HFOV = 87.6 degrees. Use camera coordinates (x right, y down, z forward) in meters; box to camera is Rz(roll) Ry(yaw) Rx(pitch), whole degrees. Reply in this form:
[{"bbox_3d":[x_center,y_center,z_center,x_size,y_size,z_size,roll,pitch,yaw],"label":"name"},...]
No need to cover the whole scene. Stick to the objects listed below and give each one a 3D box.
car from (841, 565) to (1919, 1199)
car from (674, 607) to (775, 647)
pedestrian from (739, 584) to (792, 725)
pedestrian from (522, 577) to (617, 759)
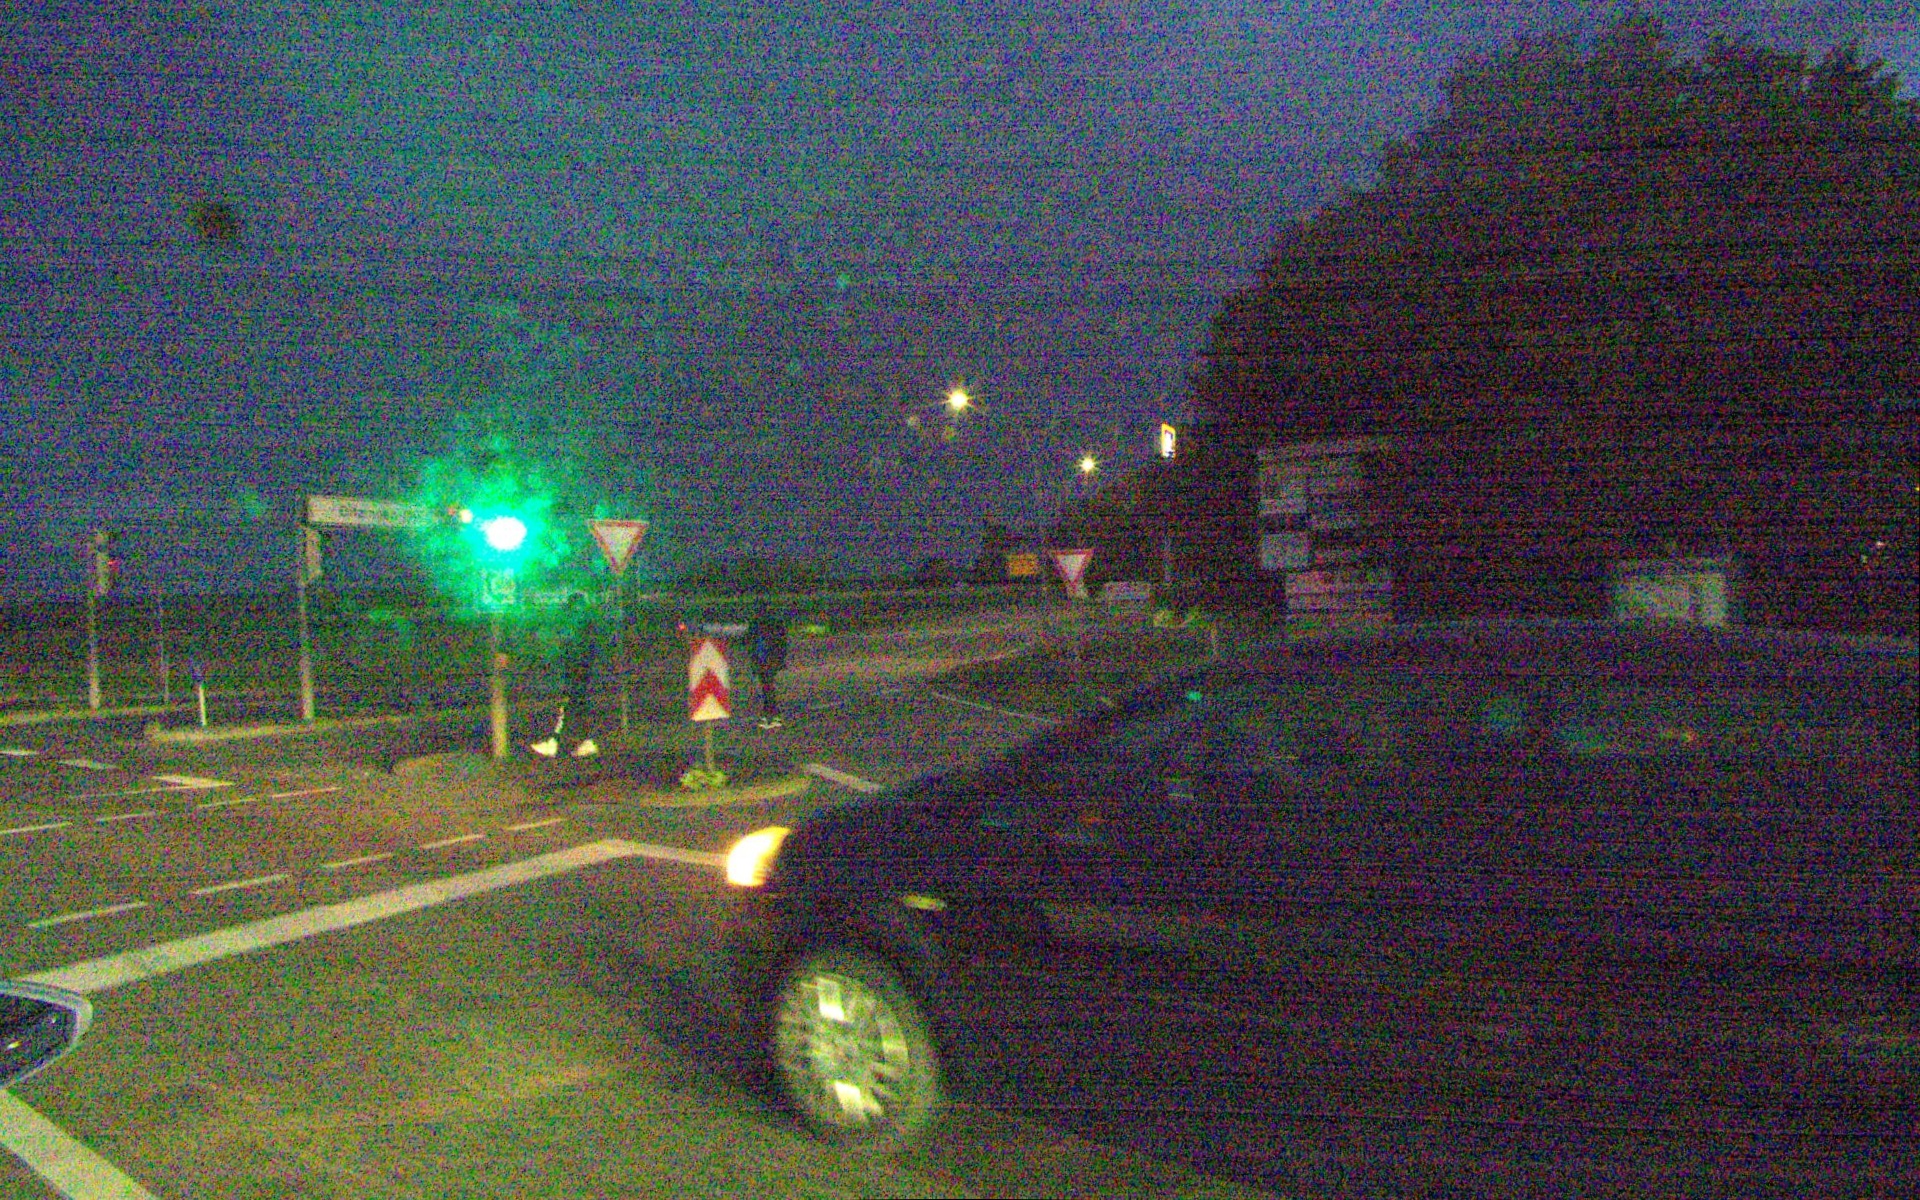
[{"bbox_3d":[1.626,0.752,2.646,3.663,1.556,1.656,-2,-2,33],"label":"car"},{"bbox_3d":[-10.984,1.238,46.893,4.392,1.686,1.999,-1,0,-8],"label":"car"},{"bbox_3d":[-2.905,0.811,15.004,0.700,2.039,0.781,0,-2,-6],"label":"pedestrian"},{"bbox_3d":[-4.576,0.785,11.753,0.704,2.039,0.776,-2,-2,33],"label":"pedestrian"}]
